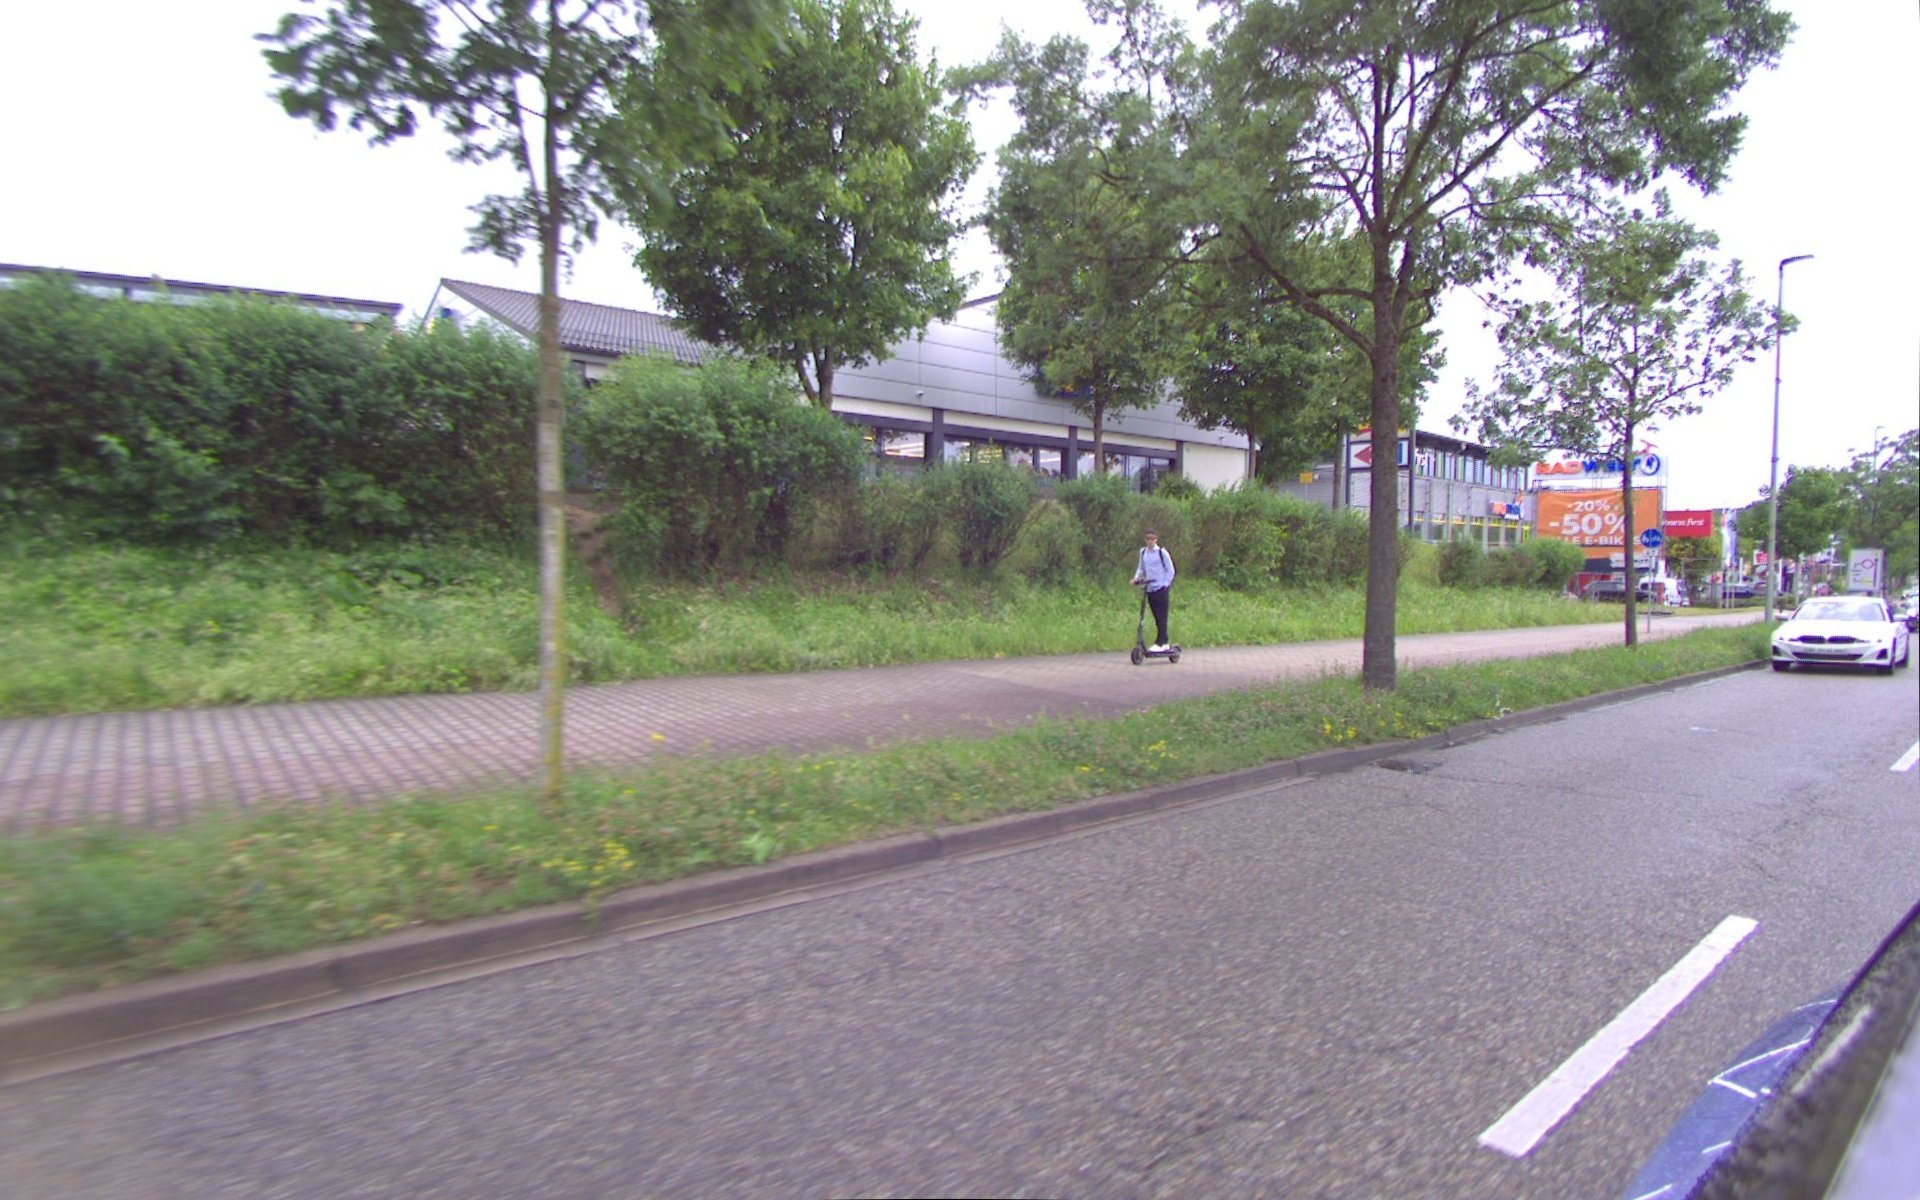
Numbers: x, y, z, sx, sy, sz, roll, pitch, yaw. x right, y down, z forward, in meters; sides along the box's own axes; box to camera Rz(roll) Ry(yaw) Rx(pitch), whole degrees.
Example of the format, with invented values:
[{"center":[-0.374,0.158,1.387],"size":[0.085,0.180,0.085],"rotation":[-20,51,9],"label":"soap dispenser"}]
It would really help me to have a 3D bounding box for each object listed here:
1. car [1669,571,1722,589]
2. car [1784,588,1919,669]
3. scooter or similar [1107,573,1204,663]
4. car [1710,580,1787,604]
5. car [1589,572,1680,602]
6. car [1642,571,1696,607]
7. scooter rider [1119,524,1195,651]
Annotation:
[{"center":[83.770,-2.325,115.318],"size":[4.421,1.700,1.798],"rotation":[4,5,7],"label":"car"},{"center":[18.083,0.494,20.355],"size":[4.466,1.458,1.805],"rotation":[-1,0,-44],"label":"car"},{"center":[2.964,0.241,15.316],"size":[1.376,1.279,0.697],"rotation":[-1,4,-40],"label":"scooter or similar"},{"center":[66.762,-0.678,85.749],"size":[1.890,1.619,4.675],"rotation":[1,5,-35],"label":"car"},{"center":[37.254,-0.735,56.016],"size":[4.074,1.457,1.776],"rotation":[2,0,33],"label":"car"},{"center":[52.331,-0.815,74.683],"size":[5.586,2.569,2.229],"rotation":[0,0,-44],"label":"car"},{"center":[2.973,-0.212,15.286],"size":[0.843,1.842,0.697],"rotation":[-1,4,-40],"label":"scooter rider"}]
